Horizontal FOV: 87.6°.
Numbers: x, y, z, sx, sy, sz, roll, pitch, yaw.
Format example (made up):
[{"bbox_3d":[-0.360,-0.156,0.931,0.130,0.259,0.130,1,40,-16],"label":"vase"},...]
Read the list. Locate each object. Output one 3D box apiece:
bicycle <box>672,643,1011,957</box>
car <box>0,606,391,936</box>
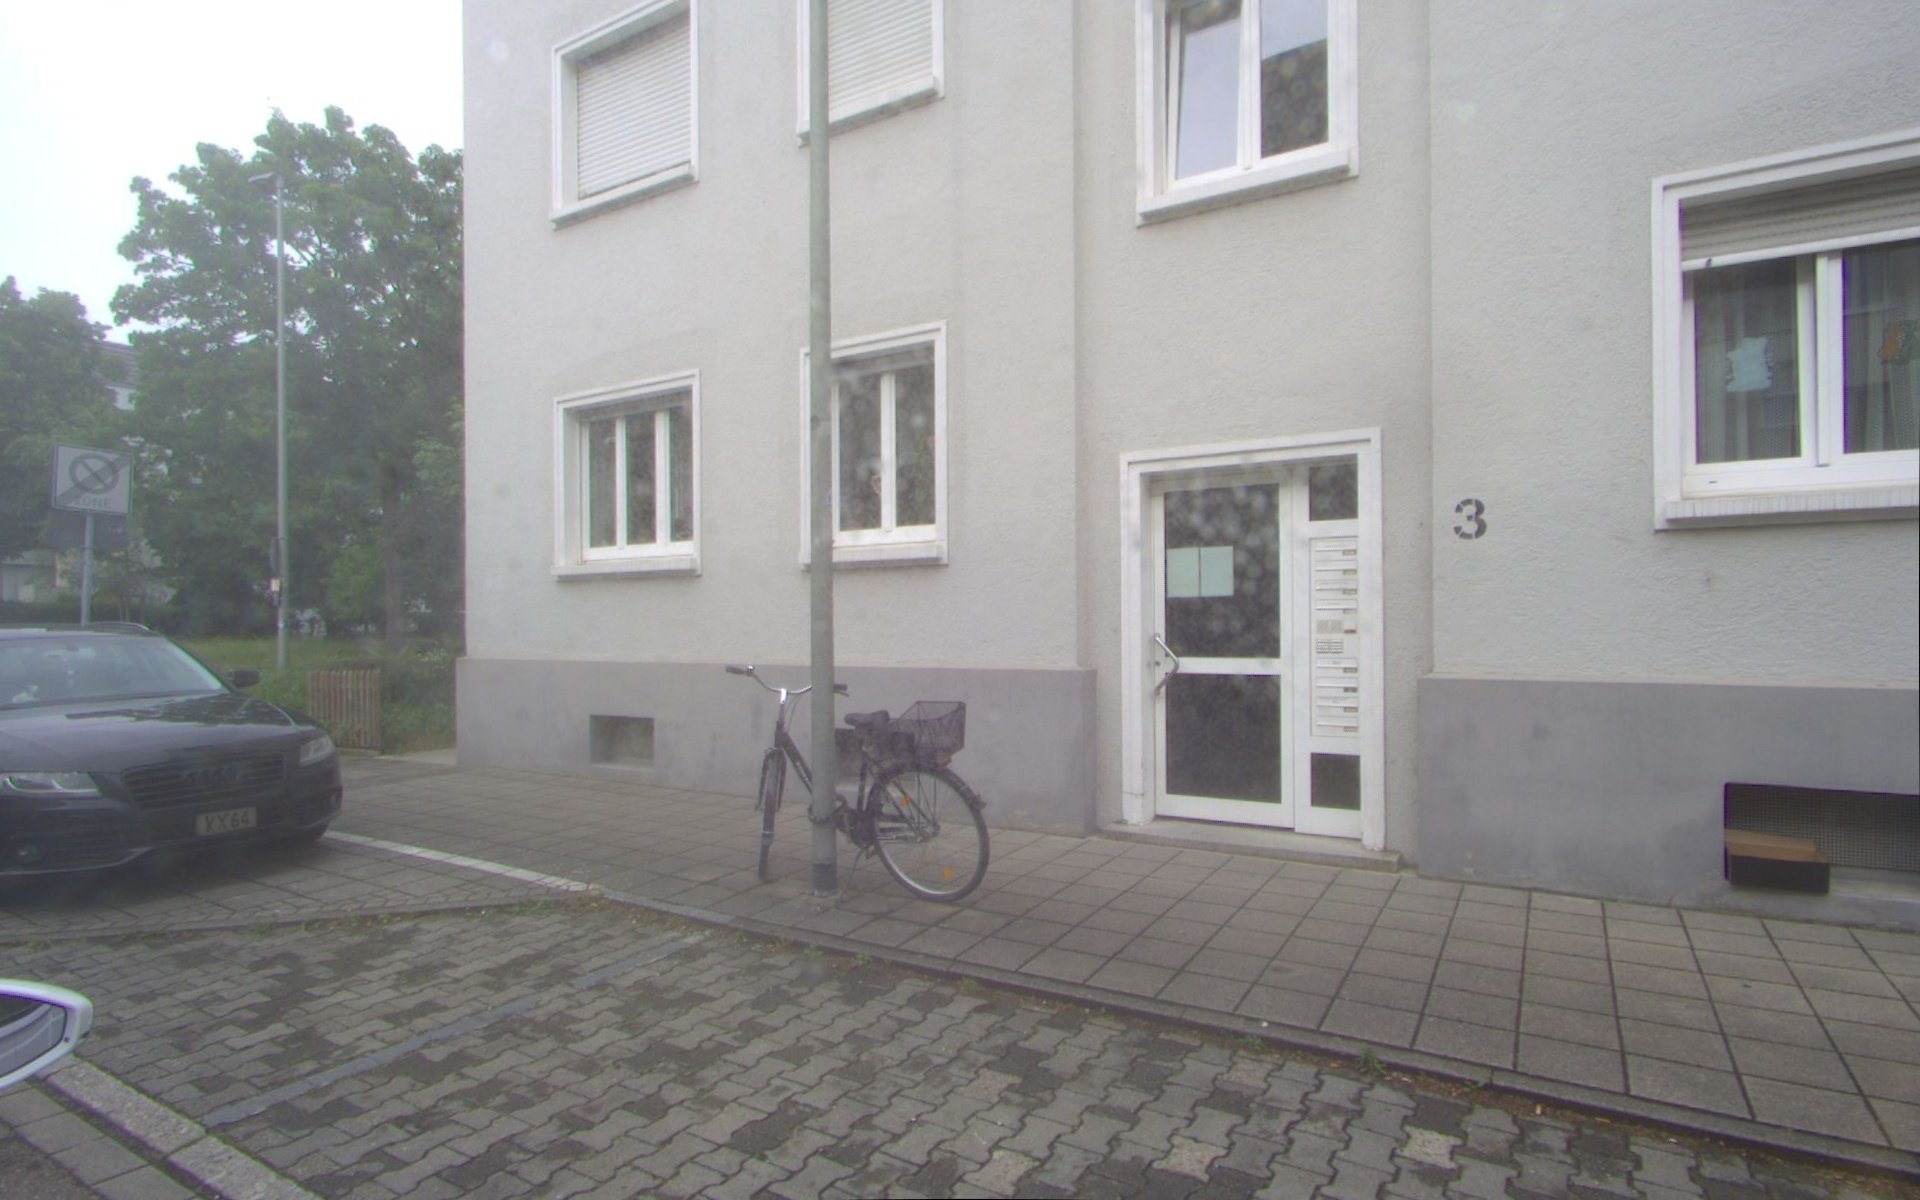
[{"bbox_3d":[-0.675,0.867,5.080,0.743,1.216,1.877,-2,1,-42],"label":"bicycle"},{"bbox_3d":[-5.916,0.804,6.439,4.655,1.482,1.857,-1,0,30],"label":"car"}]
